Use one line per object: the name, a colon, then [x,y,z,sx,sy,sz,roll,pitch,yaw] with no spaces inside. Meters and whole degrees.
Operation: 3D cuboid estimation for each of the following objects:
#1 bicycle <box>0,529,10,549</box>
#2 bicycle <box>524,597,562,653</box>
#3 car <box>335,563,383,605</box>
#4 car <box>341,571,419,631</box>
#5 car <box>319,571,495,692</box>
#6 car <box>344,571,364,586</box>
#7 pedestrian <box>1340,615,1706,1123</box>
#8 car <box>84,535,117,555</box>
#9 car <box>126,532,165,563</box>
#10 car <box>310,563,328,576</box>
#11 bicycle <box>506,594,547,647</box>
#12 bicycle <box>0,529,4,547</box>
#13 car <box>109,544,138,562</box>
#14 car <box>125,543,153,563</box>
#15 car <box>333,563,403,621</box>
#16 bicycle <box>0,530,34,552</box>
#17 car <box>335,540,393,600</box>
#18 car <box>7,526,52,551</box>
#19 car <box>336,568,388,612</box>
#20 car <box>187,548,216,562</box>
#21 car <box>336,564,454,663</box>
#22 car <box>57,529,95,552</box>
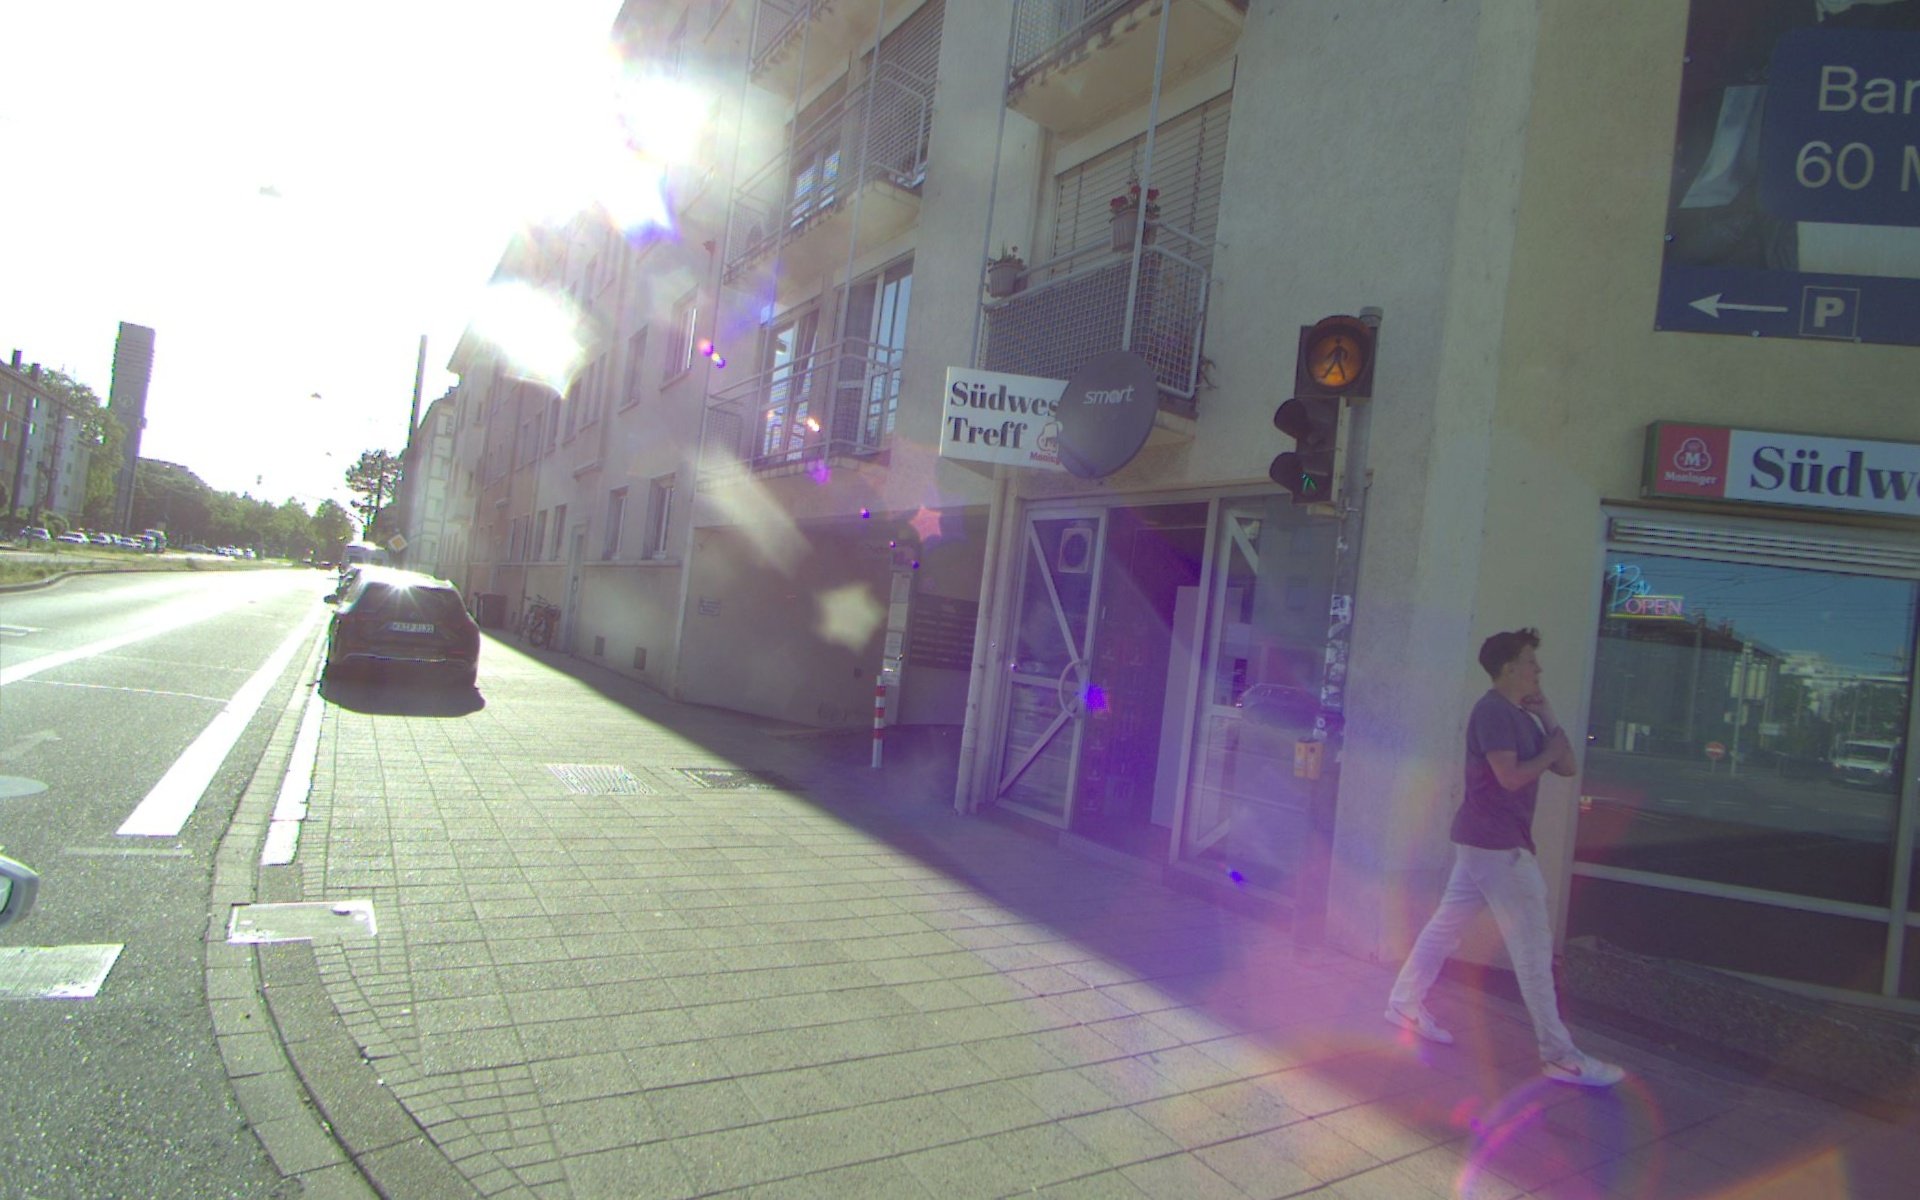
bicycle: [-71.789,-4.634,74.341,2.118,1.339,0.888,9,-5,-38]
bicycle: [-9.922,0.582,23.898,0.510,1.207,1.545,7,-1,-31]
car: [-26.499,-0.719,44.297,1.578,1.654,3.885,5,-1,-33]
car: [-17.066,-0.004,29.515,1.760,1.489,4.061,6,-1,-32]
car: [-8.247,0.381,14.827,1.870,1.414,4.704,6,-2,-32]
car: [-75.088,-2.596,124.576,1.885,1.503,3.711,8,-5,-33]
pedestrian: [2.324,0.999,4.209,0.682,1.763,1.031,6,-1,-39]
car: [-87.116,-5.544,102.016,1.981,1.570,3.969,8,-5,-33]
car: [-106.178,-6.836,131.241,2.967,3.272,6.740,8,-5,-33]
car: [-108.303,-5.204,170.067,1.985,1.802,3.961,8,-5,-38]
bicycle: [-10.996,0.505,25.479,0.624,1.207,1.867,5,-1,-31]
bicycle: [-70.907,-4.654,72.755,2.296,1.319,0.905,8,-4,-36]
car: [-95.043,-5.365,114.304,1.981,1.570,3.969,8,-5,-33]
car: [-101.209,-5.779,124.063,1.981,1.986,4.714,8,-5,-33]
car: [-19.767,-0.296,33.524,1.650,1.664,4.148,6,-1,-34]
bicycle: [-72.404,-4.531,76.933,0.885,1.339,2.126,3,-5,41]
car: [-30.086,-1.490,50.700,2.143,2.684,5.596,5,-1,-33]
car: [-75.779,-4.993,81.973,1.982,1.469,3.968,8,-5,-34]
car: [-22.270,-0.384,37.557,1.490,1.443,3.429,5,-1,-29]
car: [-136.398,-8.094,180.986,3.969,1.702,1.981,9,-5,-38]
car: [-10.395,0.231,18.427,1.542,1.543,2.964,7,-3,-34]
car: [-81.873,-5.484,93.209,1.981,1.598,3.969,8,-5,-33]
